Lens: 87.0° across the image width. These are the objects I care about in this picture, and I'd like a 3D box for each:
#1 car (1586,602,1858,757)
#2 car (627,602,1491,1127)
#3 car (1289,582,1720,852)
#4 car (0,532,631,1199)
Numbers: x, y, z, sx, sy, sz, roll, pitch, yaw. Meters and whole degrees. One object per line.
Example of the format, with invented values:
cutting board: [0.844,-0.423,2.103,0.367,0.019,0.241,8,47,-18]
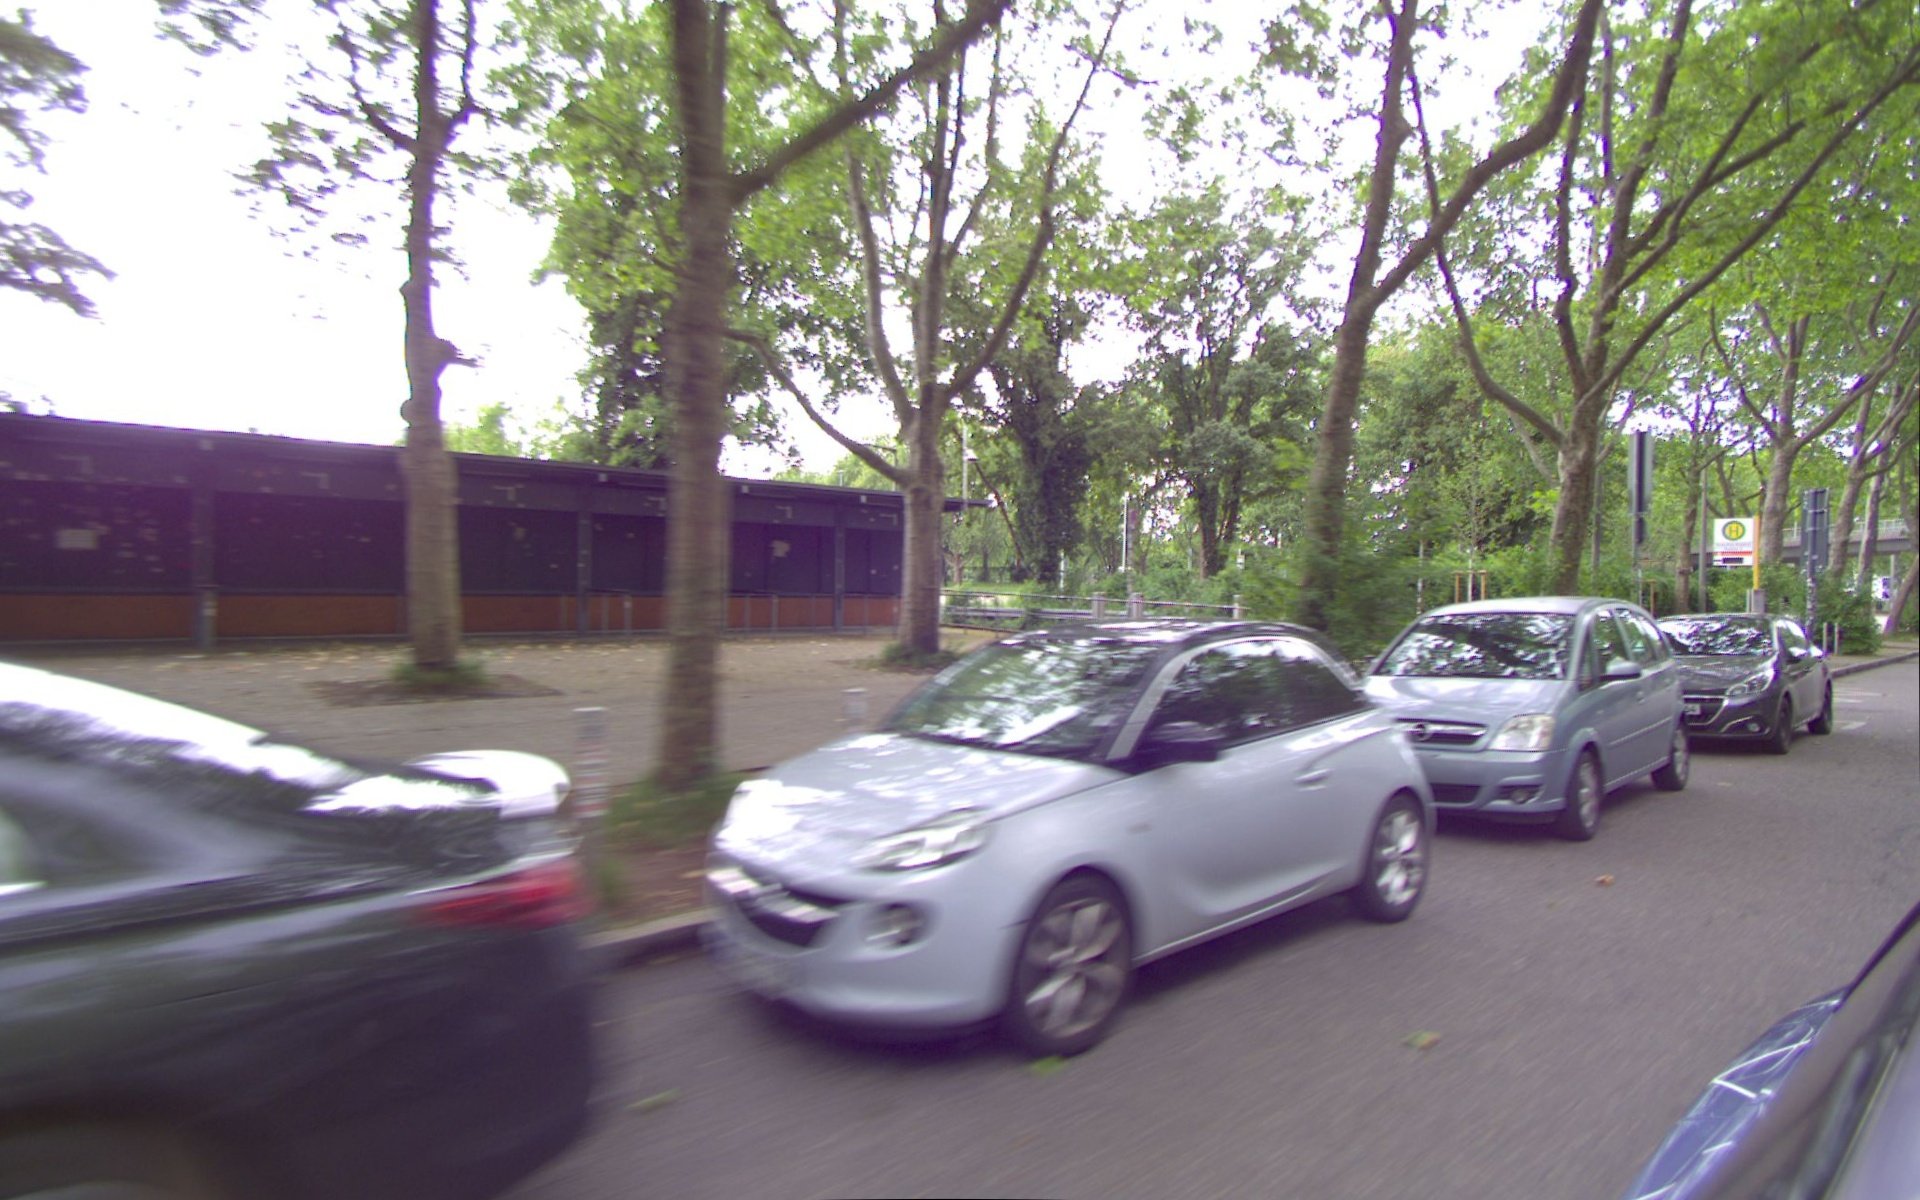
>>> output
car: [8.950,0.786,11.770,4.009,1.488,1.732,0,-1,-41]
car: [0.717,0.748,4.770,4.007,1.439,1.733,0,-1,-40]
car: [4.428,0.701,7.963,4.010,1.590,1.732,0,-1,-42]
car: [-3.097,0.666,1.171,4.894,1.496,1.733,0,-1,-40]
